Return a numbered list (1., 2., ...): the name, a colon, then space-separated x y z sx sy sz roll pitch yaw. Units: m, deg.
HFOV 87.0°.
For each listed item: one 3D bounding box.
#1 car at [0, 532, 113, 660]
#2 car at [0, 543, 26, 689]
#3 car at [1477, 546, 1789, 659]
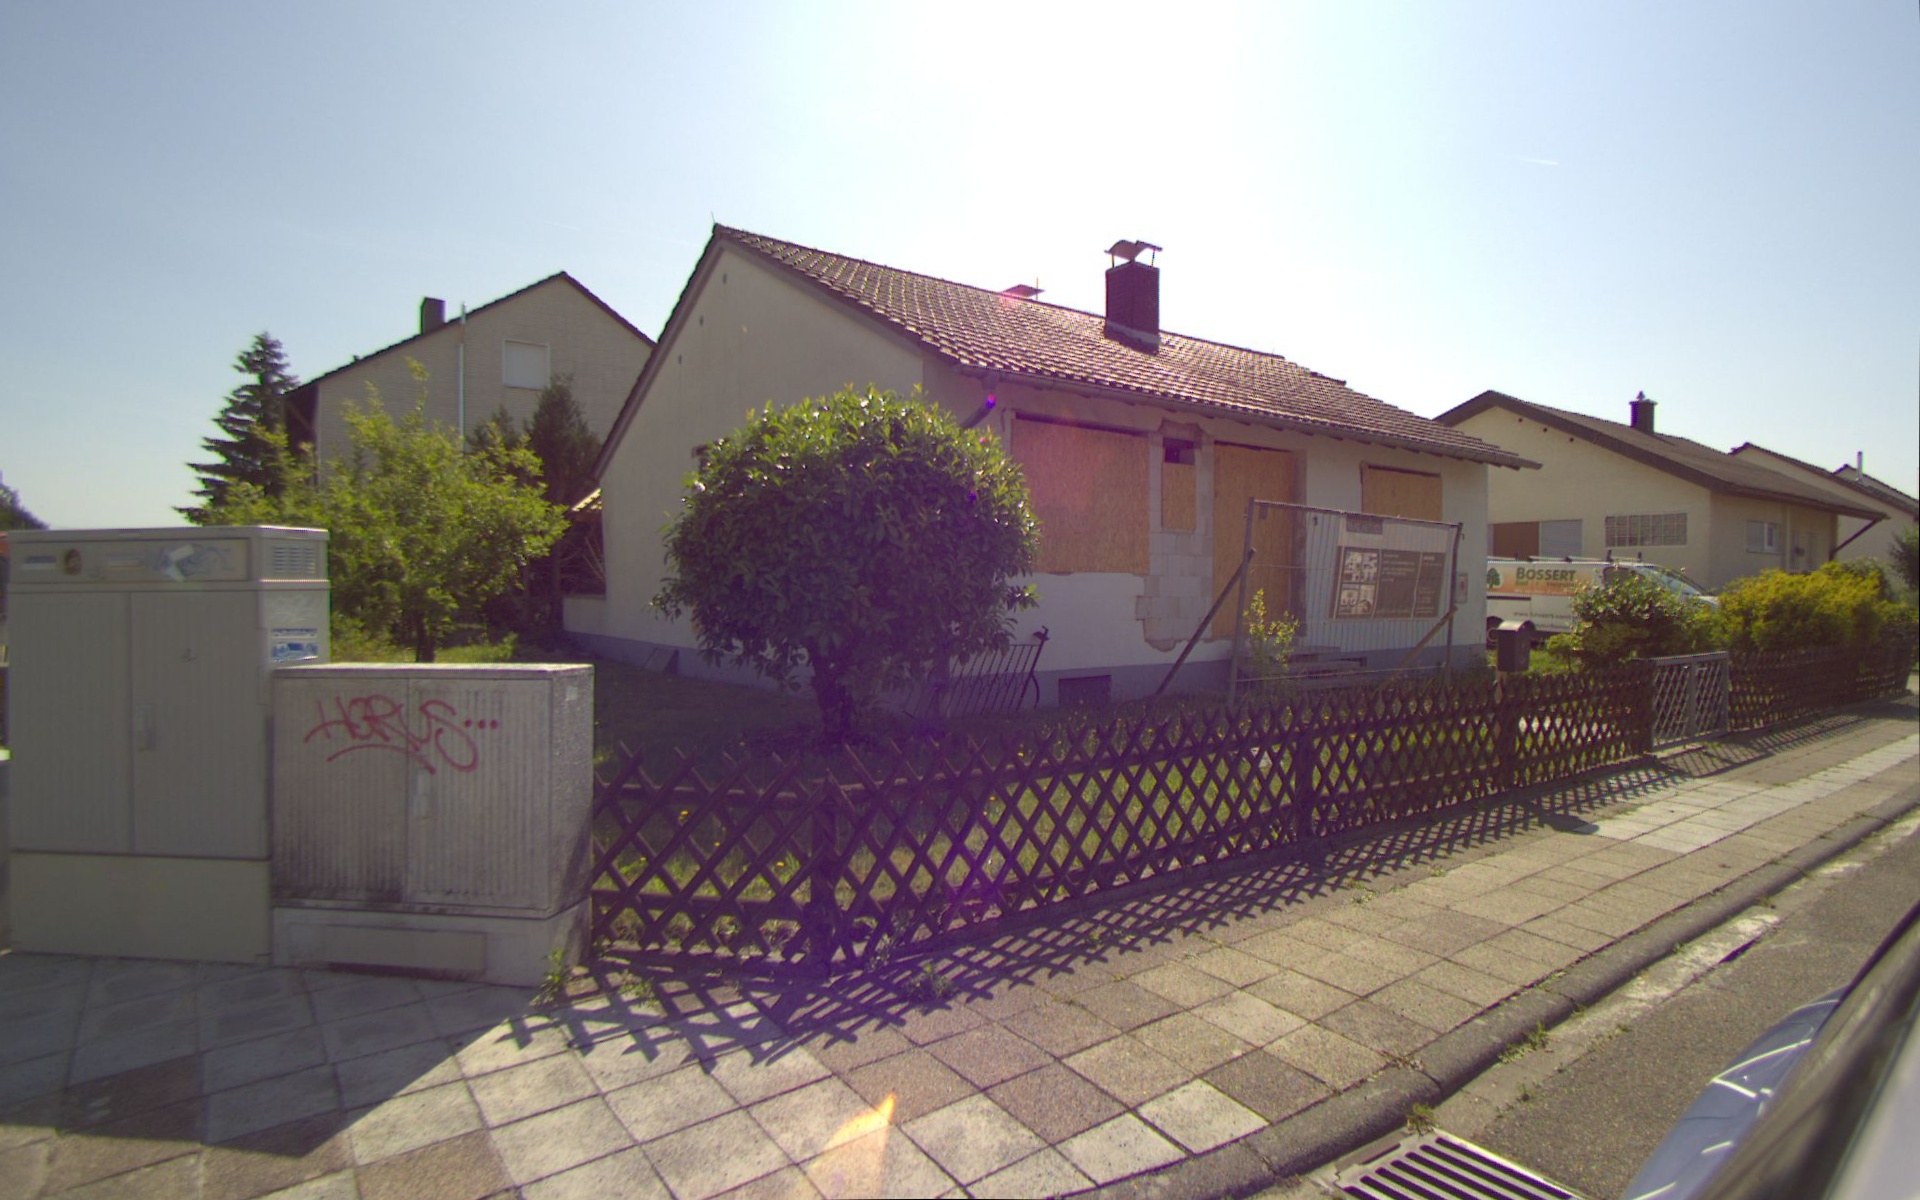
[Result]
1. car: -18.515 -0.110 20.644 1.527 2.352 4.204 -1 1 -35
2. car: -13.468 0.230 12.812 1.836 1.962 4.204 -1 1 -35
3. car: 13.565 -0.019 20.761 1.832 2.039 5.013 0 1 -35
